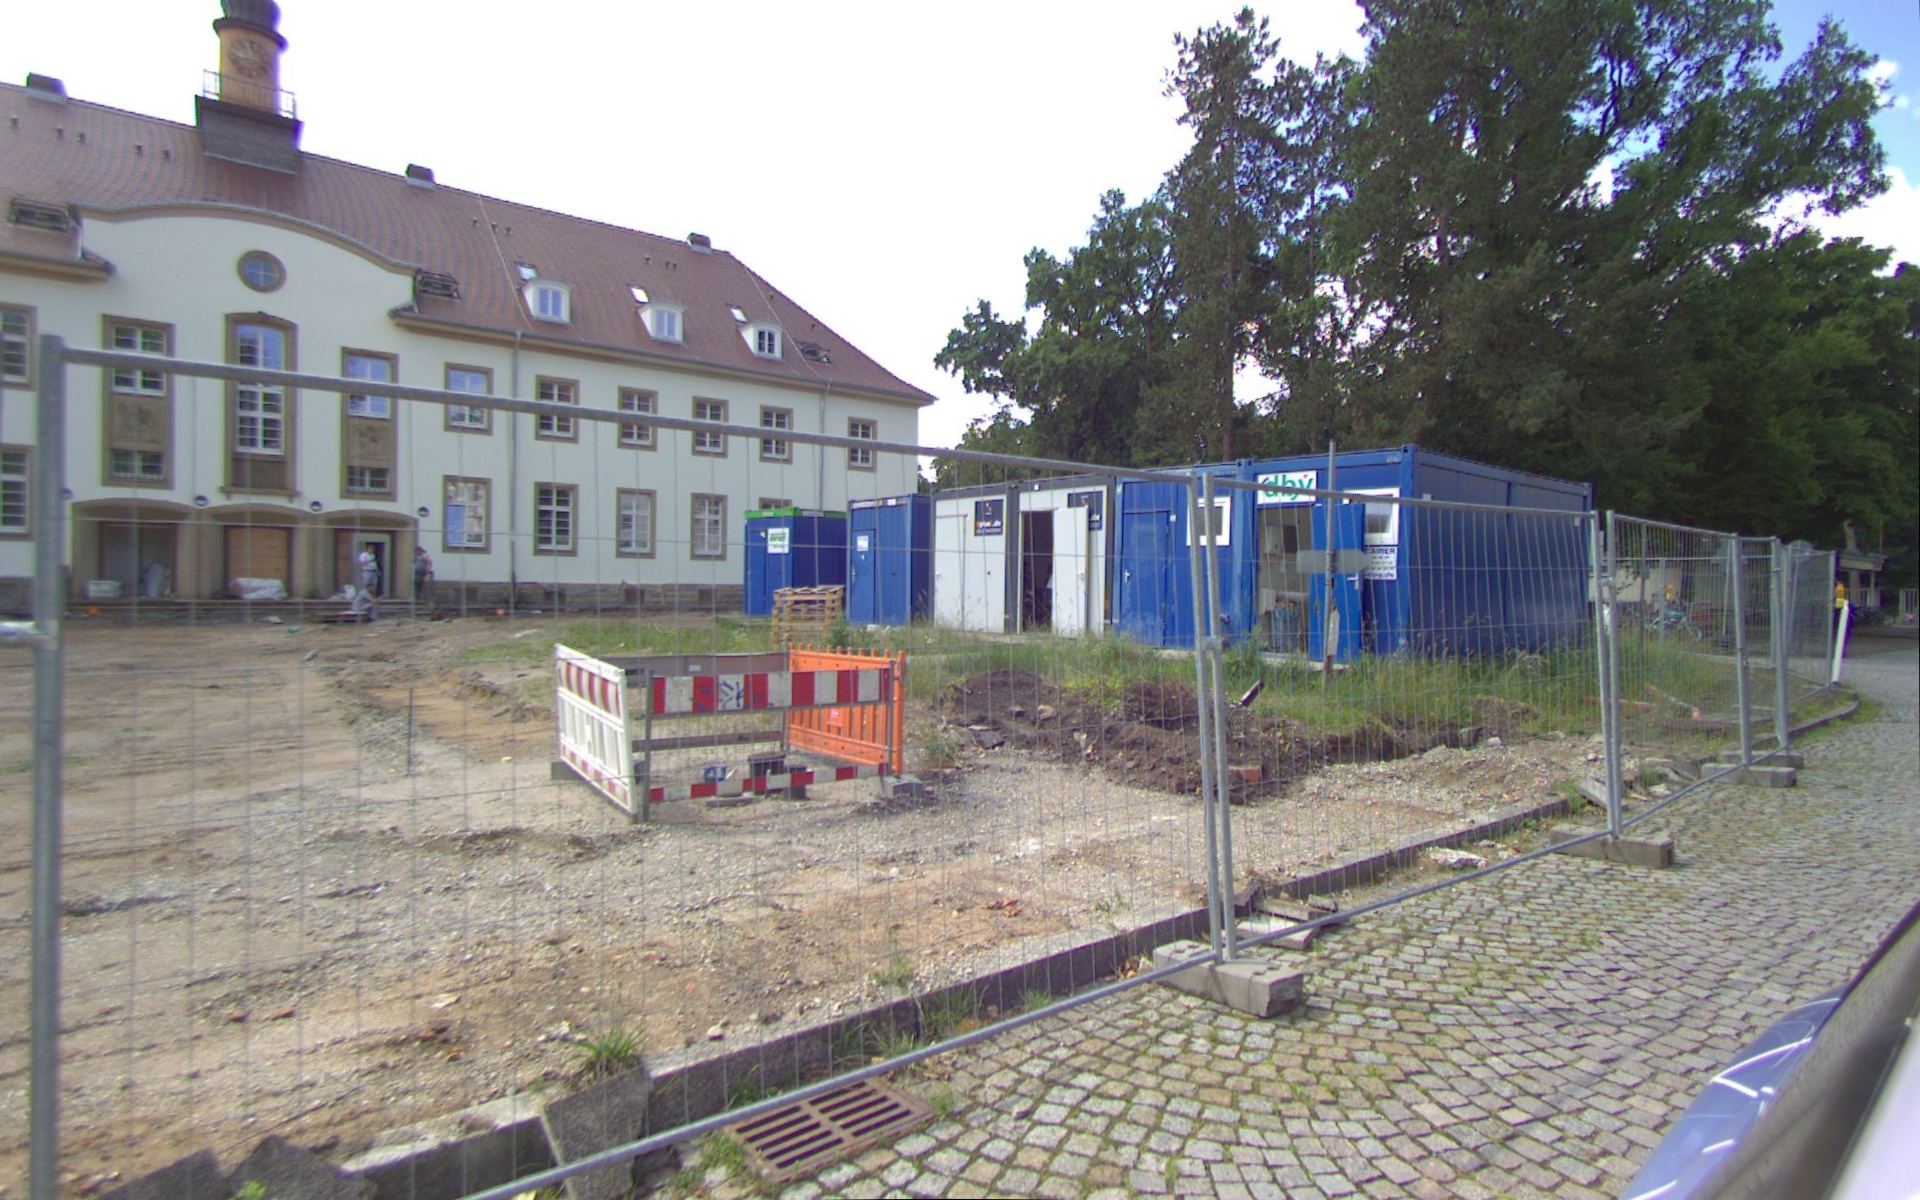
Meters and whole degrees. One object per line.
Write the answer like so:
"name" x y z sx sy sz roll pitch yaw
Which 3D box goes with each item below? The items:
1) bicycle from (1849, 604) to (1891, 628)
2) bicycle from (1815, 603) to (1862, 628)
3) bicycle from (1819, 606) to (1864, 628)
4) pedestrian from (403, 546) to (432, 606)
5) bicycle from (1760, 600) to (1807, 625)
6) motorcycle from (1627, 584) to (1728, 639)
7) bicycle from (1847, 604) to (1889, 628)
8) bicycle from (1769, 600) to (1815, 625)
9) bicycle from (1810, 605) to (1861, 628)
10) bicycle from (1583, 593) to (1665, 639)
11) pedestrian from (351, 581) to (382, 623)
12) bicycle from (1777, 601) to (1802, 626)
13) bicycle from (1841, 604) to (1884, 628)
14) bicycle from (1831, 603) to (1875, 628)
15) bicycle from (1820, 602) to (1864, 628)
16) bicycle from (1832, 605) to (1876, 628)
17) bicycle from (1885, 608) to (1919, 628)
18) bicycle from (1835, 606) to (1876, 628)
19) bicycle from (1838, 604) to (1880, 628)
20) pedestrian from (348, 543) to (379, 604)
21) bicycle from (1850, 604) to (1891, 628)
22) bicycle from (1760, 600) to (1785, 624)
"bicycle" 48.520 0.847 53.944 1.613 1.155 0.320 4 2 44
"bicycle" 42.892 0.746 49.427 1.673 1.122 0.334 3 2 39
"bicycle" 43.959 0.836 50.471 1.616 0.988 0.320 3 2 22
"pedestrian" -17.151 -0.757 32.000 0.636 1.858 0.876 0 0 -41
"bicycle" 41.821 0.642 51.391 0.598 1.179 1.743 1 2 -42
"motorcycle" 20.899 0.309 29.505 0.744 1.504 2.279 1 1 -43
"bicycle" 48.192 0.848 53.748 1.613 1.155 0.320 4 2 44
"bicycle" 42.686 0.640 51.925 0.598 1.179 1.743 1 2 -42
"bicycle" 43.355 0.809 50.132 1.726 0.988 0.753 3 2 22
"bicycle" 18.726 0.440 28.582 0.642 1.212 1.909 1 1 -19
"pedestrian" -17.678 0.063 30.122 0.709 1.225 0.669 0 0 -38
"bicycle" 40.078 0.646 48.883 1.606 1.130 0.598 1 2 -40
"bicycle" 47.791 0.836 53.600 1.613 1.155 0.320 4 2 44
"bicycle" 46.068 0.782 52.202 1.627 1.204 0.492 3 2 39
"bicycle" 44.382 0.745 50.940 1.627 1.204 0.467 3 2 38
"bicycle" 46.438 0.852 52.575 1.626 1.063 0.330 3 2 38
"bicycle" 50.854 0.952 54.583 1.391 1.059 0.336 1 0 25
"bicycle" 46.859 0.865 52.965 1.592 1.063 0.320 4 2 44
"bicycle" 47.284 0.837 53.238 1.592 1.155 0.320 4 2 44
"pedestrian" -18.456 -0.824 31.308 0.722 1.858 0.646 0 0 -41
"bicycle" 48.834 0.860 54.293 1.613 1.155 0.350 4 2 44
"bicycle" 39.645 0.593 49.387 1.606 1.130 0.598 1 2 -40
